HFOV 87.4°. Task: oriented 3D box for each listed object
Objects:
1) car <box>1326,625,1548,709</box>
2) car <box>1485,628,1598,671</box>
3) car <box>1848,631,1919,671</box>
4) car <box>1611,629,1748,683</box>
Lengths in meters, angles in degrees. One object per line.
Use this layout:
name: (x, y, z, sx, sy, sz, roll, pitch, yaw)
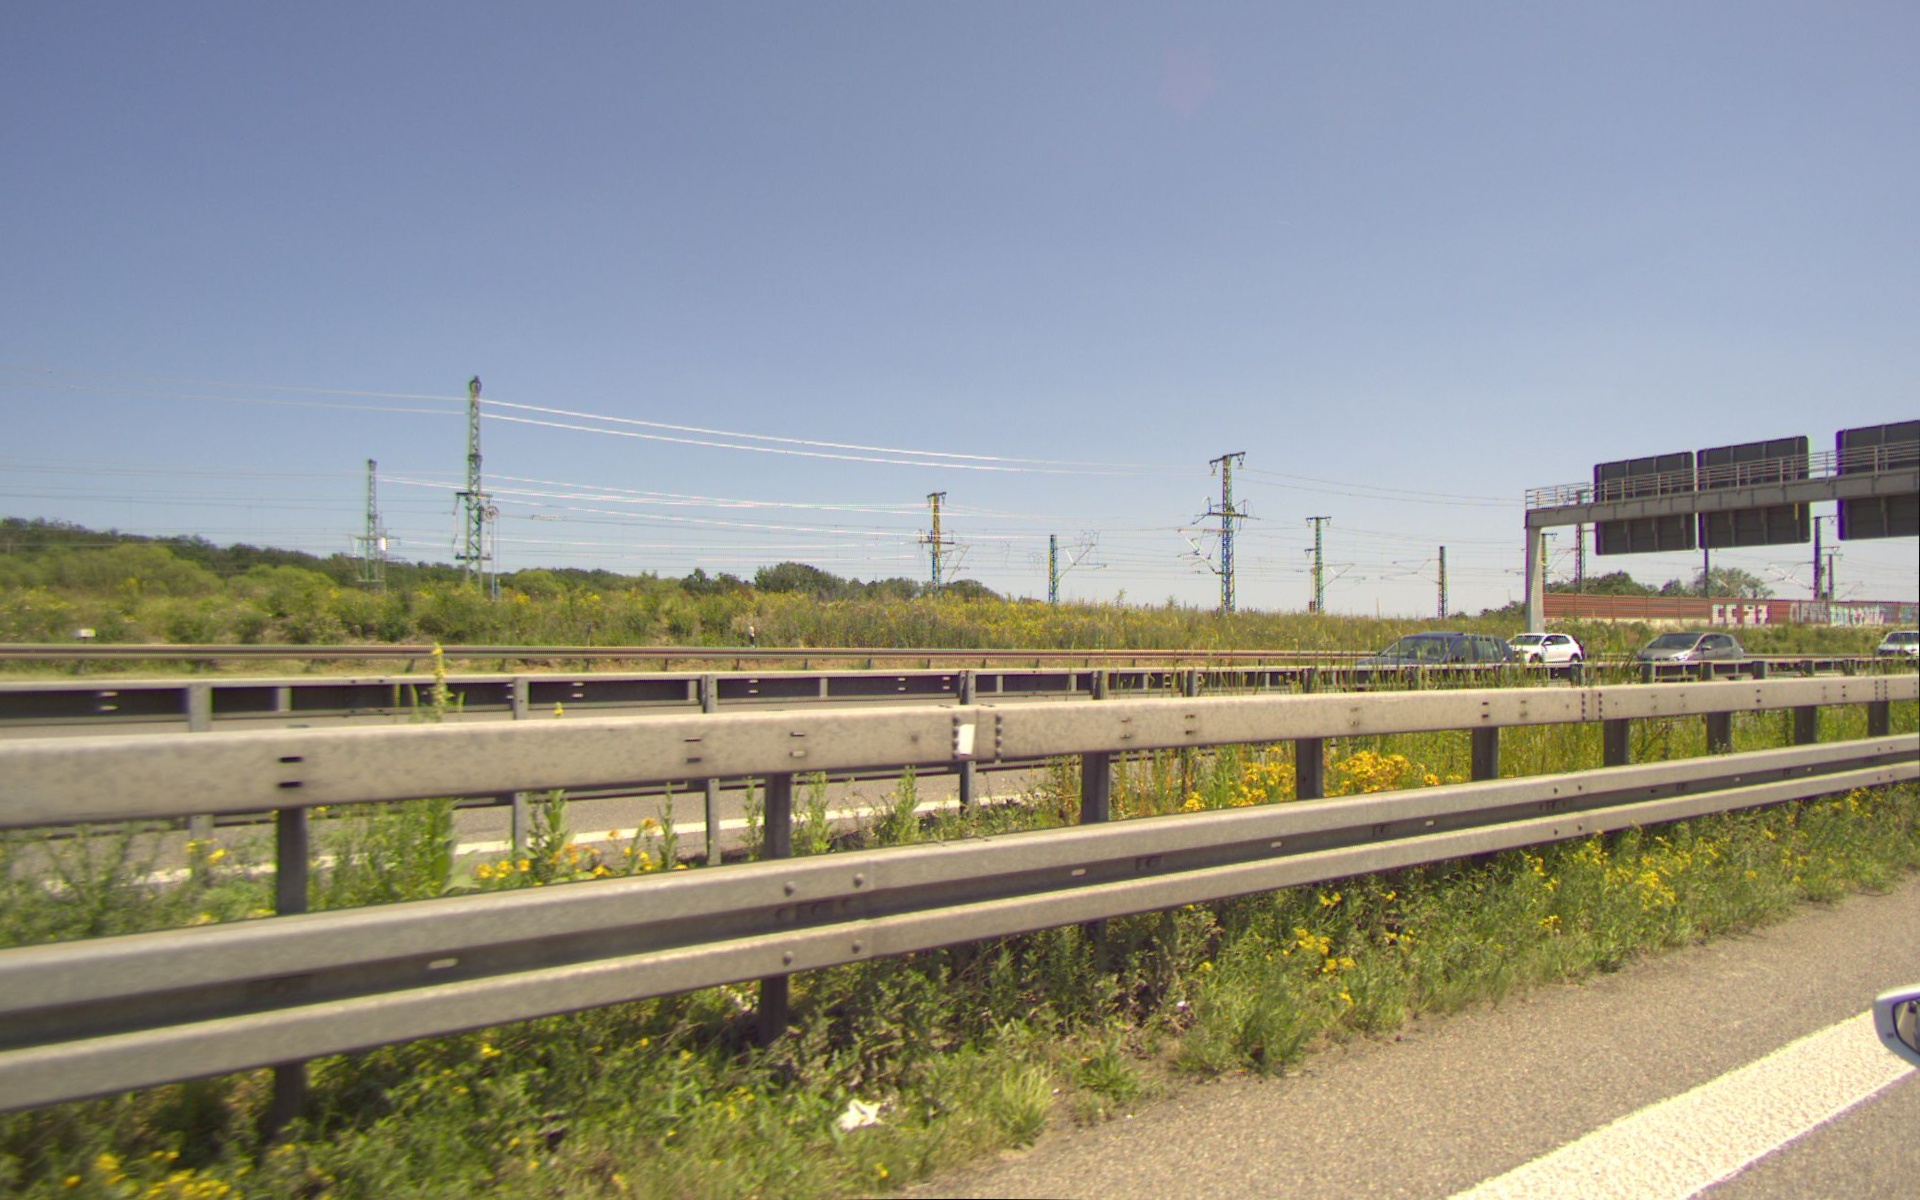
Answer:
car: (9.651, 1.304, 20.257, 4.425, 1.503, 1.919, 2, -1, -31)
car: (23.398, 1.980, 40.400, 4.423, 1.597, 1.985, 2, -1, -29)
car: (47.375, 2.558, 50.915, 4.915, 1.911, 1.985, 1, 0, -28)
car: (23.630, 1.816, 32.985, 4.423, 1.597, 1.985, 2, -1, -29)
